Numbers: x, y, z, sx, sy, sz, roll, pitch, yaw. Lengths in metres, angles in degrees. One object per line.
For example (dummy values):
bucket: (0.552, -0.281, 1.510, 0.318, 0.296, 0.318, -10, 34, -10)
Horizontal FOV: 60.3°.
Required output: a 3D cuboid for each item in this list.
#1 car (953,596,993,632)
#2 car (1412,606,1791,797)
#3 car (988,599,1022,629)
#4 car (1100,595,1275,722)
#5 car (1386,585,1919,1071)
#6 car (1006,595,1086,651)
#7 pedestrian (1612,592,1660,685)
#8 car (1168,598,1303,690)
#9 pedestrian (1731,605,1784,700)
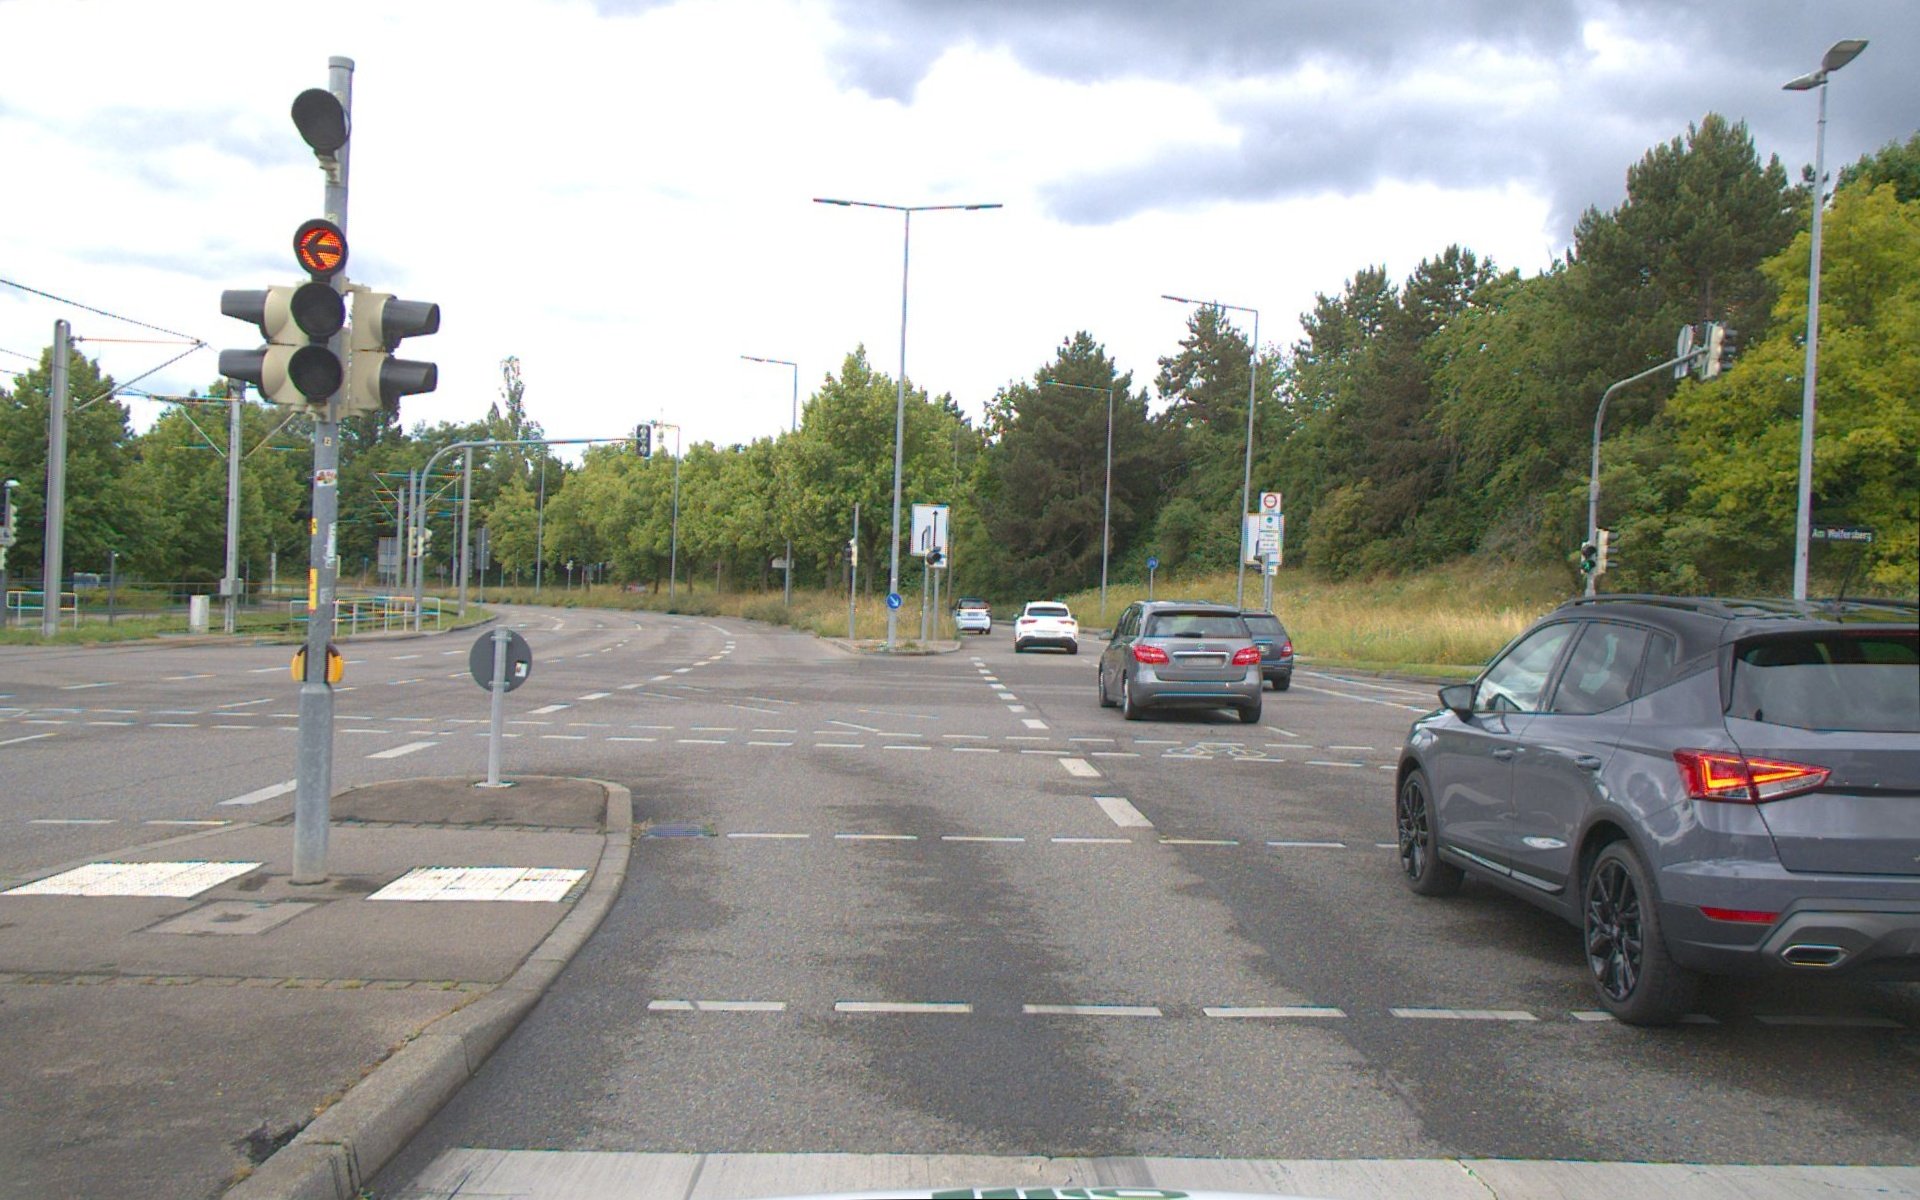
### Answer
car: (0.560, 0.624, 72.786, 1.560, 1.543, 2.764, 1, 0, -4)
car: (5.598, 0.805, 15.055, 1.711, 1.407, 4.290, 1, 0, -1)
car: (2.257, 0.690, 83.883, 1.580, 1.479, 3.881, 1, 0, -1)
car: (2.982, 0.721, 22.421, 1.711, 1.534, 4.047, 1, 0, -1)
car: (3.179, 0.713, 7.134, 1.591, 1.519, 3.836, 1, 0, -2)
car: (2.456, 0.656, 48.258, 1.807, 1.533, 4.527, 1, 0, -3)
pedestrian: (12.457, 0.707, 30.505, 0.630, 1.691, 0.714, 1, -1, 6)
car: (5.047, 0.759, 30.821, 1.711, 1.511, 4.355, 1, 1, -1)
pedestrian: (14.132, 0.919, 29.322, 0.630, 1.640, 0.714, 1, -1, 5)
